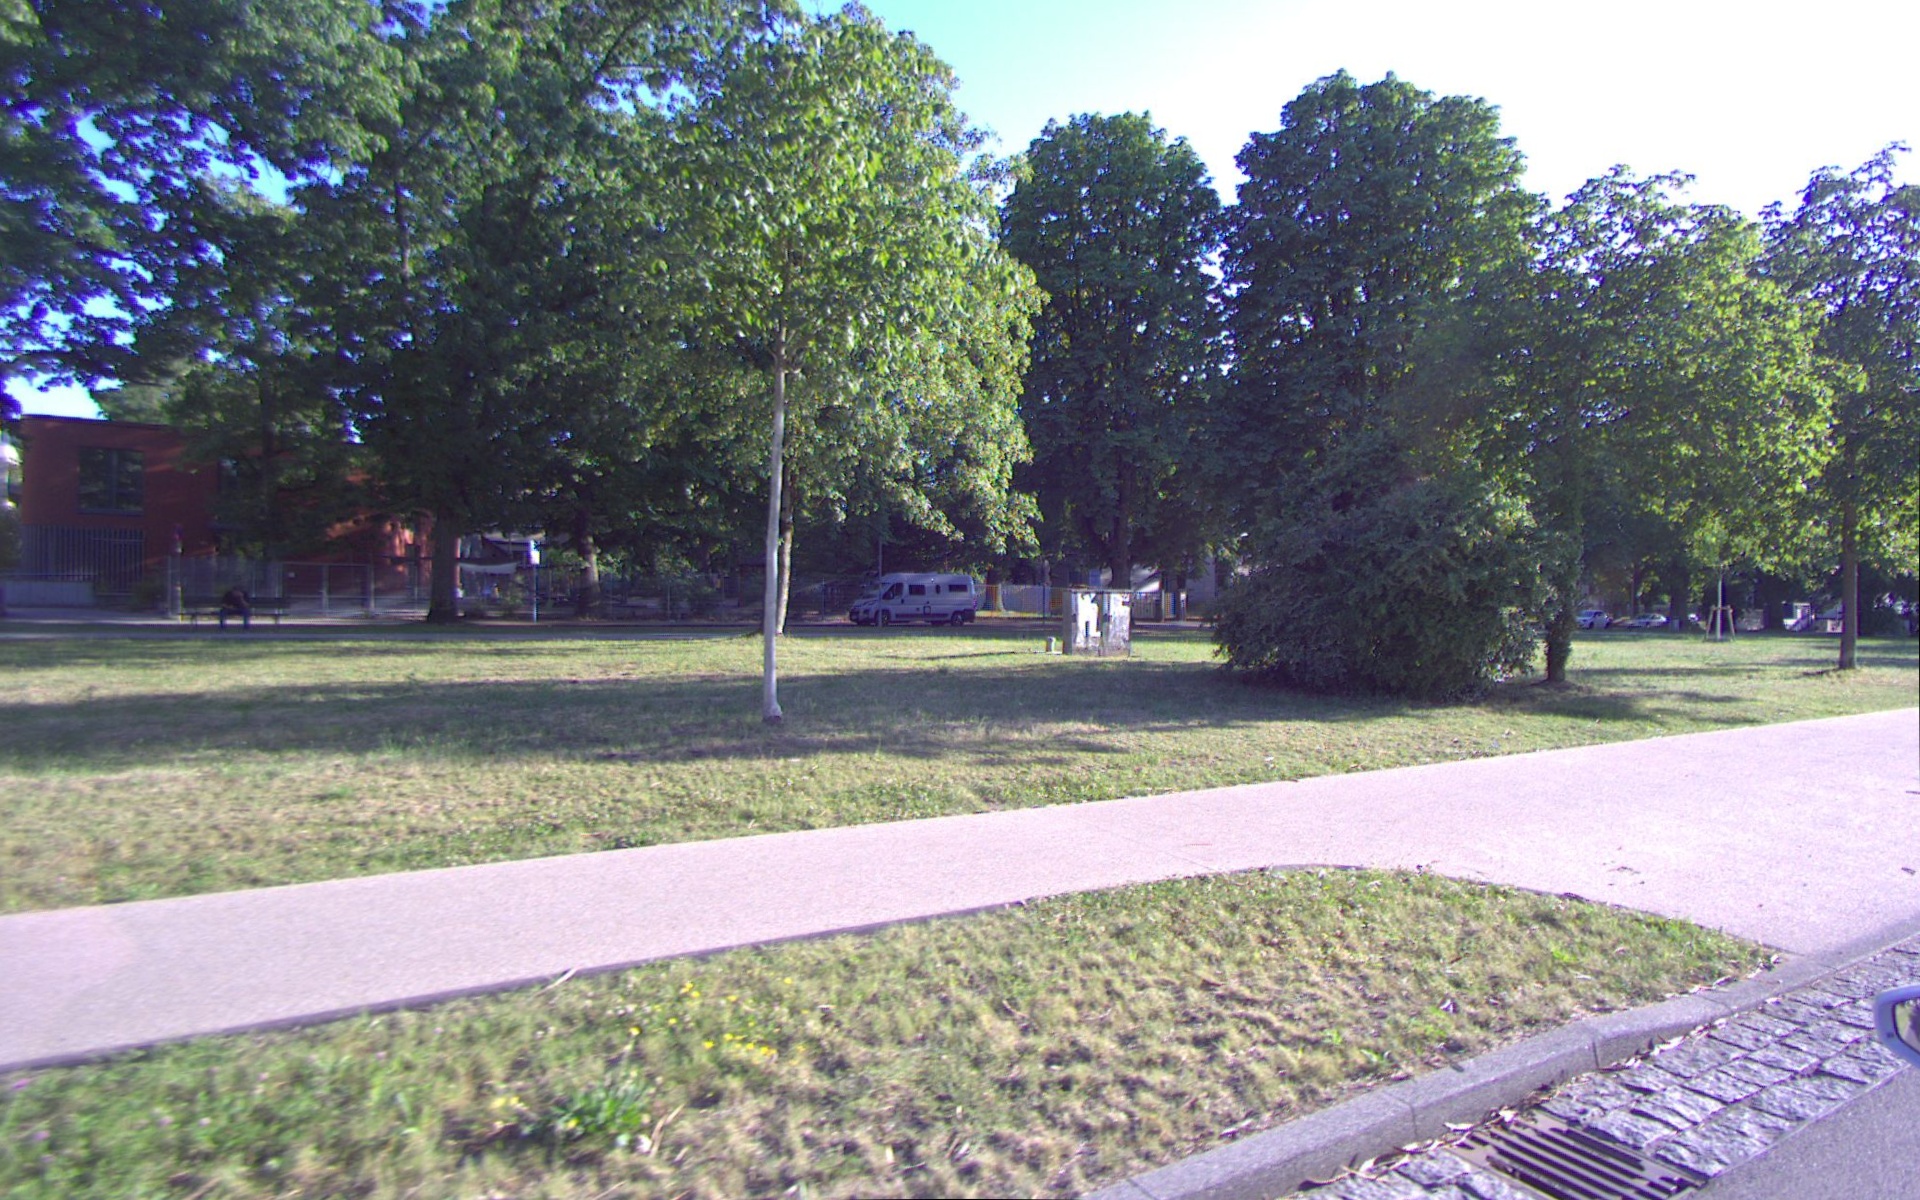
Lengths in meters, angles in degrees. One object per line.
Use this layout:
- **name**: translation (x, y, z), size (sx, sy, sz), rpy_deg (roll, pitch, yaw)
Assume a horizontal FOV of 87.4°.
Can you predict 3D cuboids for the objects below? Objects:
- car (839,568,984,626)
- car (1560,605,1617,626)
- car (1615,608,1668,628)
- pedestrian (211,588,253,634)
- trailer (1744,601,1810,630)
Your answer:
- **car**: translation (-2.218, -0.095, 46.861), size (6.248, 2.496, 2.706), rpy_deg (1, 0, -32)
- **car**: translation (48.060, 1.162, 76.794), size (4.066, 1.528, 1.984), rpy_deg (1, 0, -30)
- **car**: translation (55.214, 1.432, 81.329), size (4.066, 1.528, 1.984), rpy_deg (1, 0, -30)
- **pedestrian**: translation (-16.067, 0.240, 22.188), size (0.601, 1.000, 0.547), rpy_deg (1, 0, -20)
- **trailer**: translation (76.314, 1.456, 93.772), size (6.966, 2.522, 2.448), rpy_deg (1, 0, -30)
